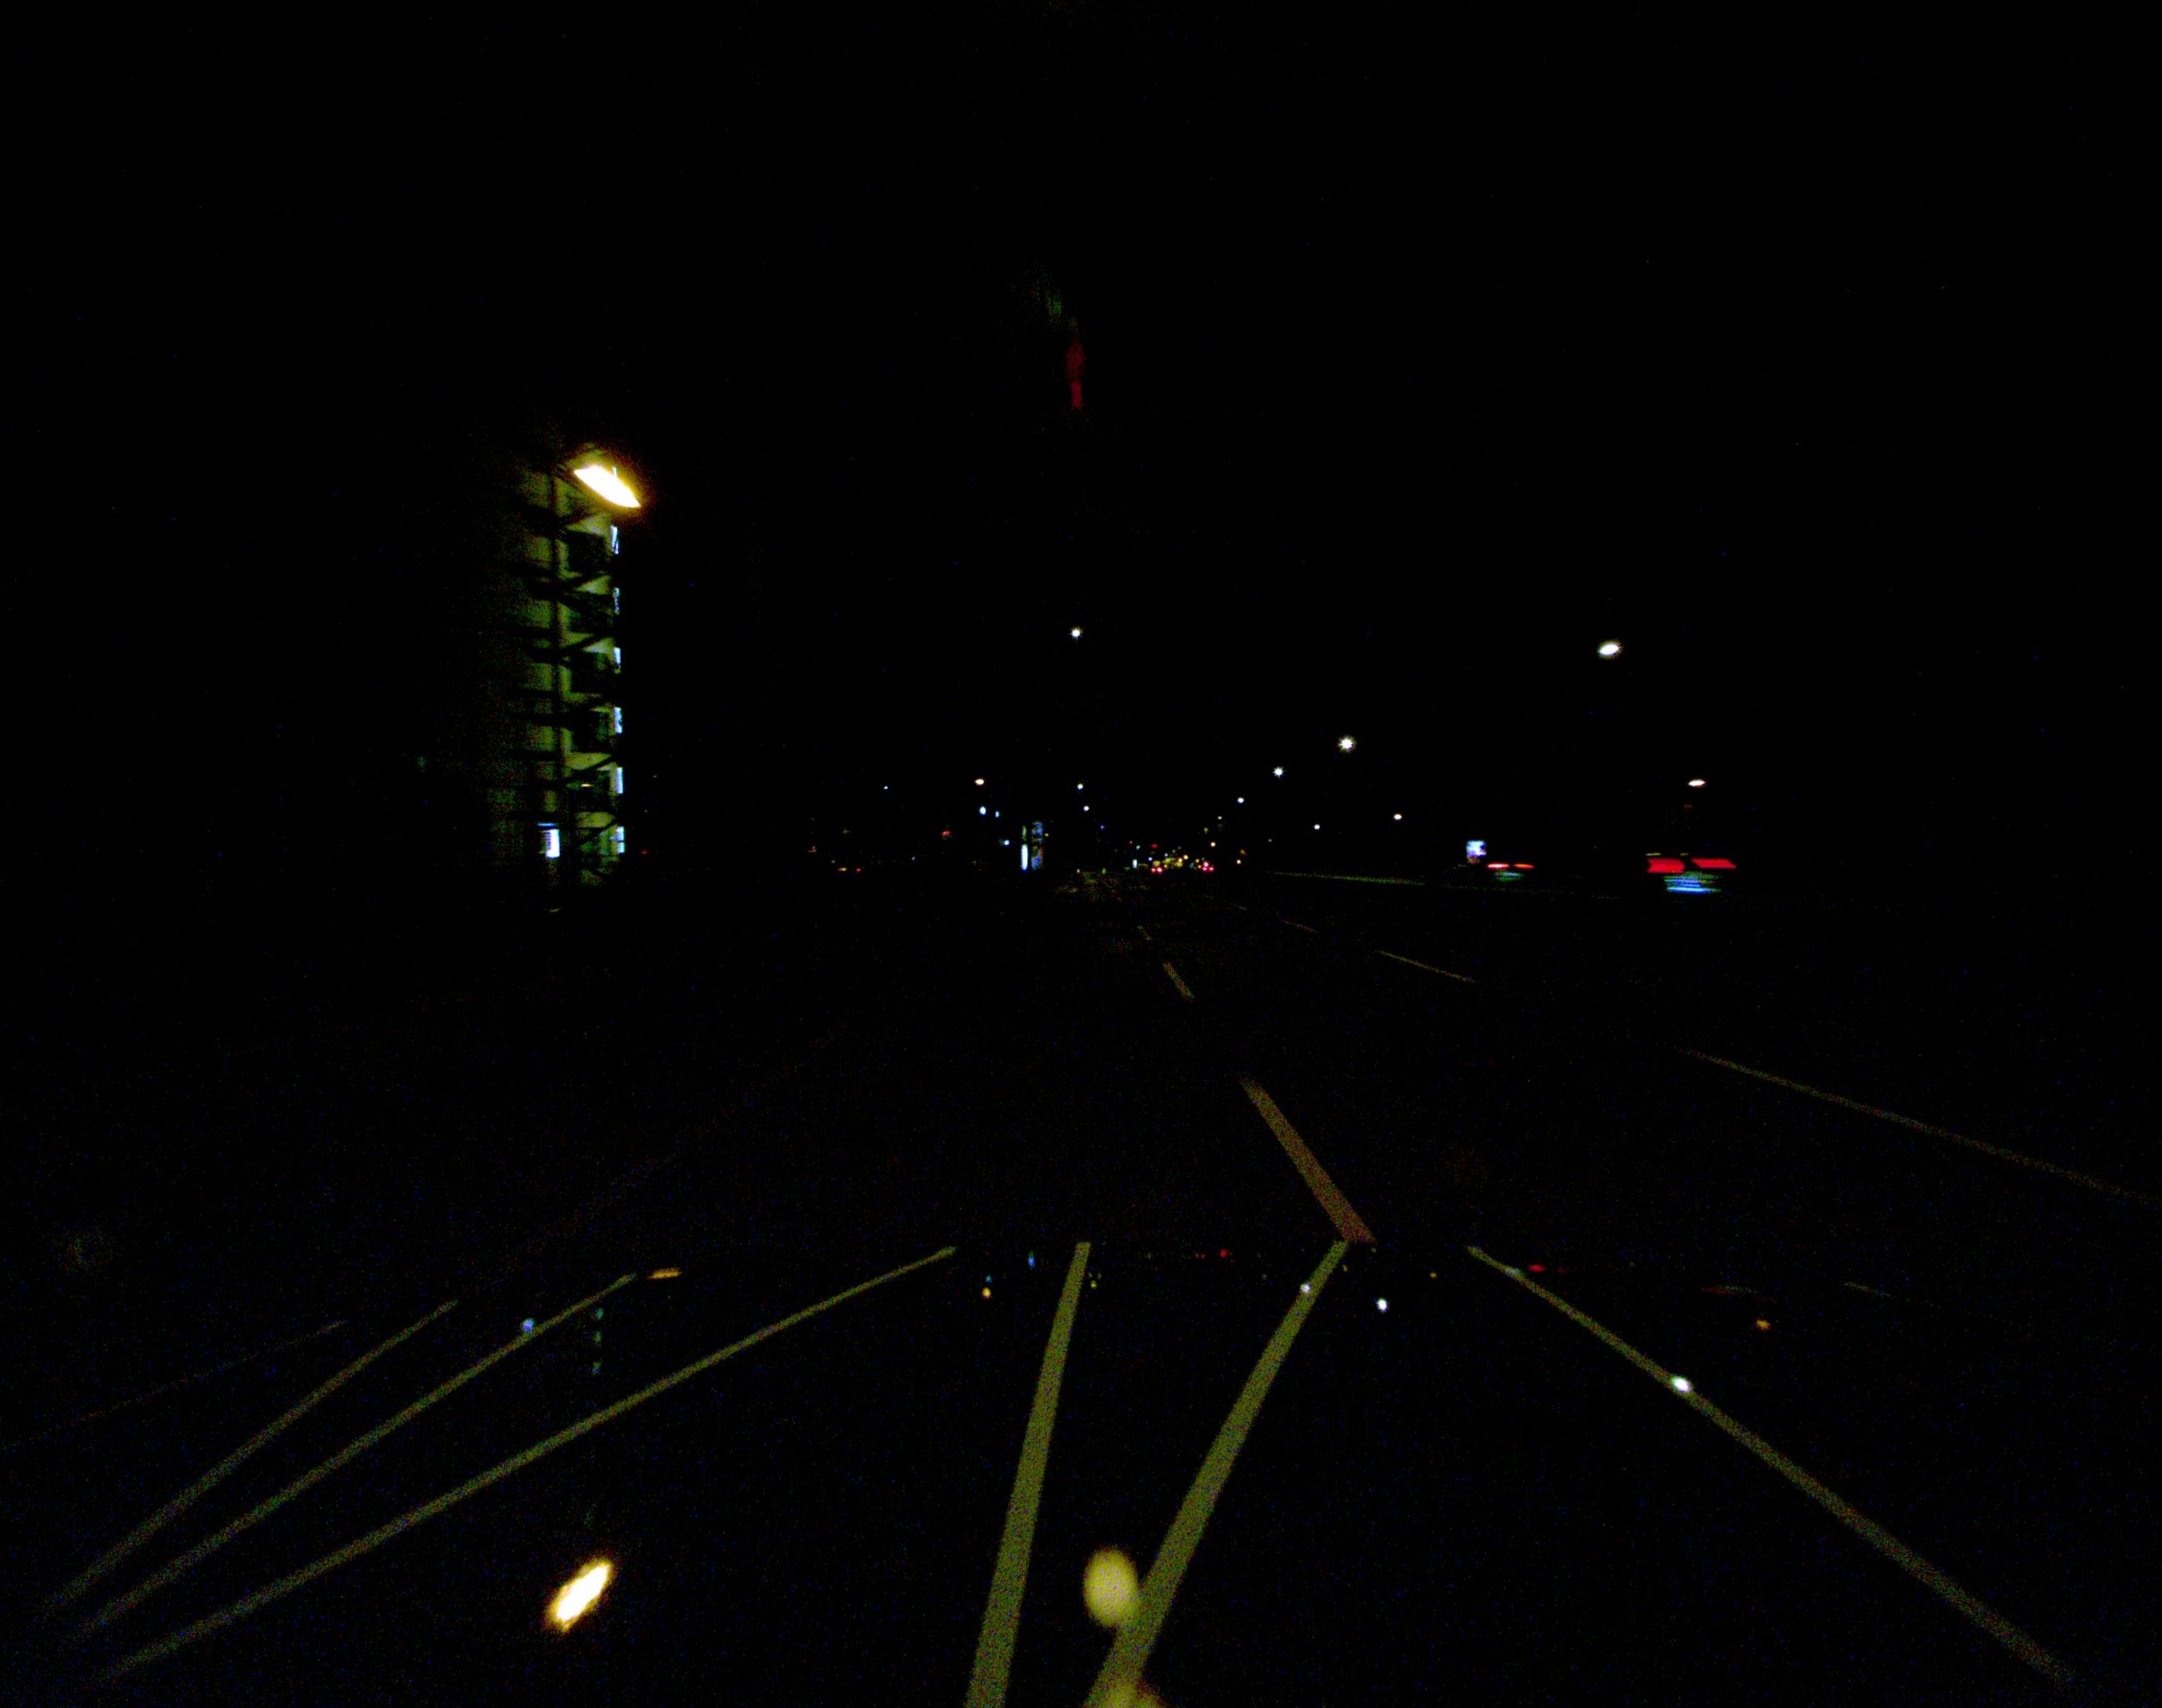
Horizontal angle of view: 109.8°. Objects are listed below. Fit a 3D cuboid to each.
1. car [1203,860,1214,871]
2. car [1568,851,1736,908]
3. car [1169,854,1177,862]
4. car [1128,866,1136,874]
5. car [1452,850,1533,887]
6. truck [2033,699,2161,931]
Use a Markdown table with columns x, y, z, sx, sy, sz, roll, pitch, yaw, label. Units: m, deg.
| x | y | z | sx | sy | sz | roll | pitch | yaw | label |
| --- | --- | --- | --- | --- | --- | --- | --- | --- | --- |
| 25.330 | 2.347 | 151.237 | 2.059 | 2.002 | 4.002 | -2 | 1 | 9 | car |
| 16.705 | 0.688 | 22.508 | 1.809 | 1.490 | 4.084 | -1 | 1 | -2 | car |
| 21.681 | 0.933 | 179.310 | 1.794 | 1.896 | 4.001 | -2 | 1 | 5 | car |
| 13.239 | 4.156 | 196.654 | 1.794 | 2.002 | 4.001 | -2 | 1 | 6 | car |
| 19.668 | 0.664 | 36.496 | 1.730 | 1.616 | 3.961 | -2 | 1 | 1 | car |
| 20.236 | -0.687 | 9.417 | 3.691 | 3.931 | 10.419 | -2 | 1 | -1 | truck |
